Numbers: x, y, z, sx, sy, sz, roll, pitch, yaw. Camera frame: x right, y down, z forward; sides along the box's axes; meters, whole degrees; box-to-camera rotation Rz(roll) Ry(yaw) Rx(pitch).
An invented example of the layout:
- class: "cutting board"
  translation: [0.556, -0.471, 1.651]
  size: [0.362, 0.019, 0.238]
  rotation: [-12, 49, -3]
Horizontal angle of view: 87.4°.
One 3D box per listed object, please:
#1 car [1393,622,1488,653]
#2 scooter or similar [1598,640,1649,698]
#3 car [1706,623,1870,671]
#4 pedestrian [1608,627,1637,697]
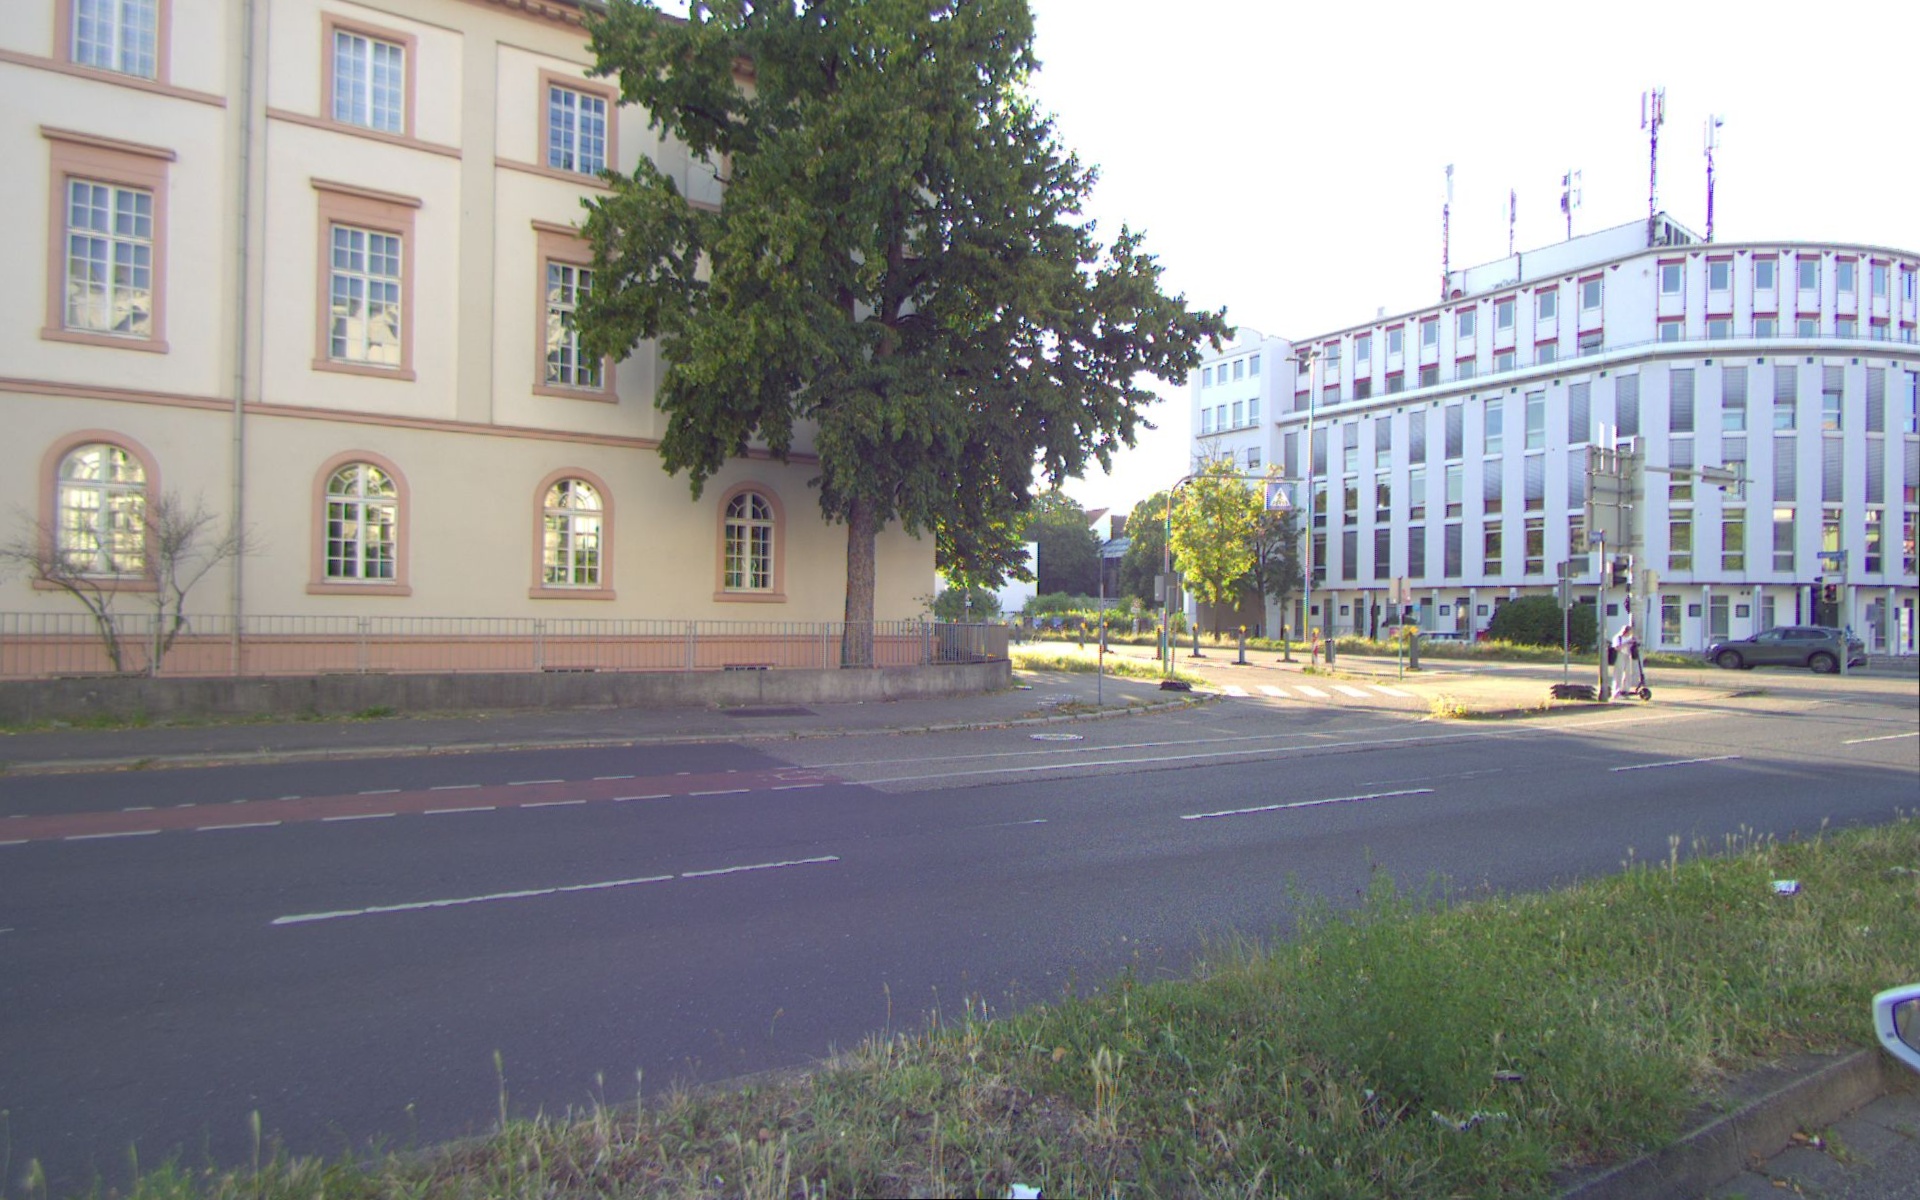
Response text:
- class: "car"
  translation: [23.981, 1.840, 50.263]
  size: [1.770, 1.439, 3.961]
  rotation: [1, -1, -35]
- class: "scooter or similar"
  translation: [14.665, 1.512, 22.207]
  size: [0.368, 1.250, 0.885]
  rotation: [1, -1, -40]
- class: "car"
  translation: [29.756, 1.648, 36.191]
  size: [1.772, 1.570, 4.305]
  rotation: [1, -1, -38]
- class: "pedestrian"
  translation: [14.735, 1.374, 22.357]
  size: [0.332, 1.525, 0.470]
  rotation: [1, -1, -41]
